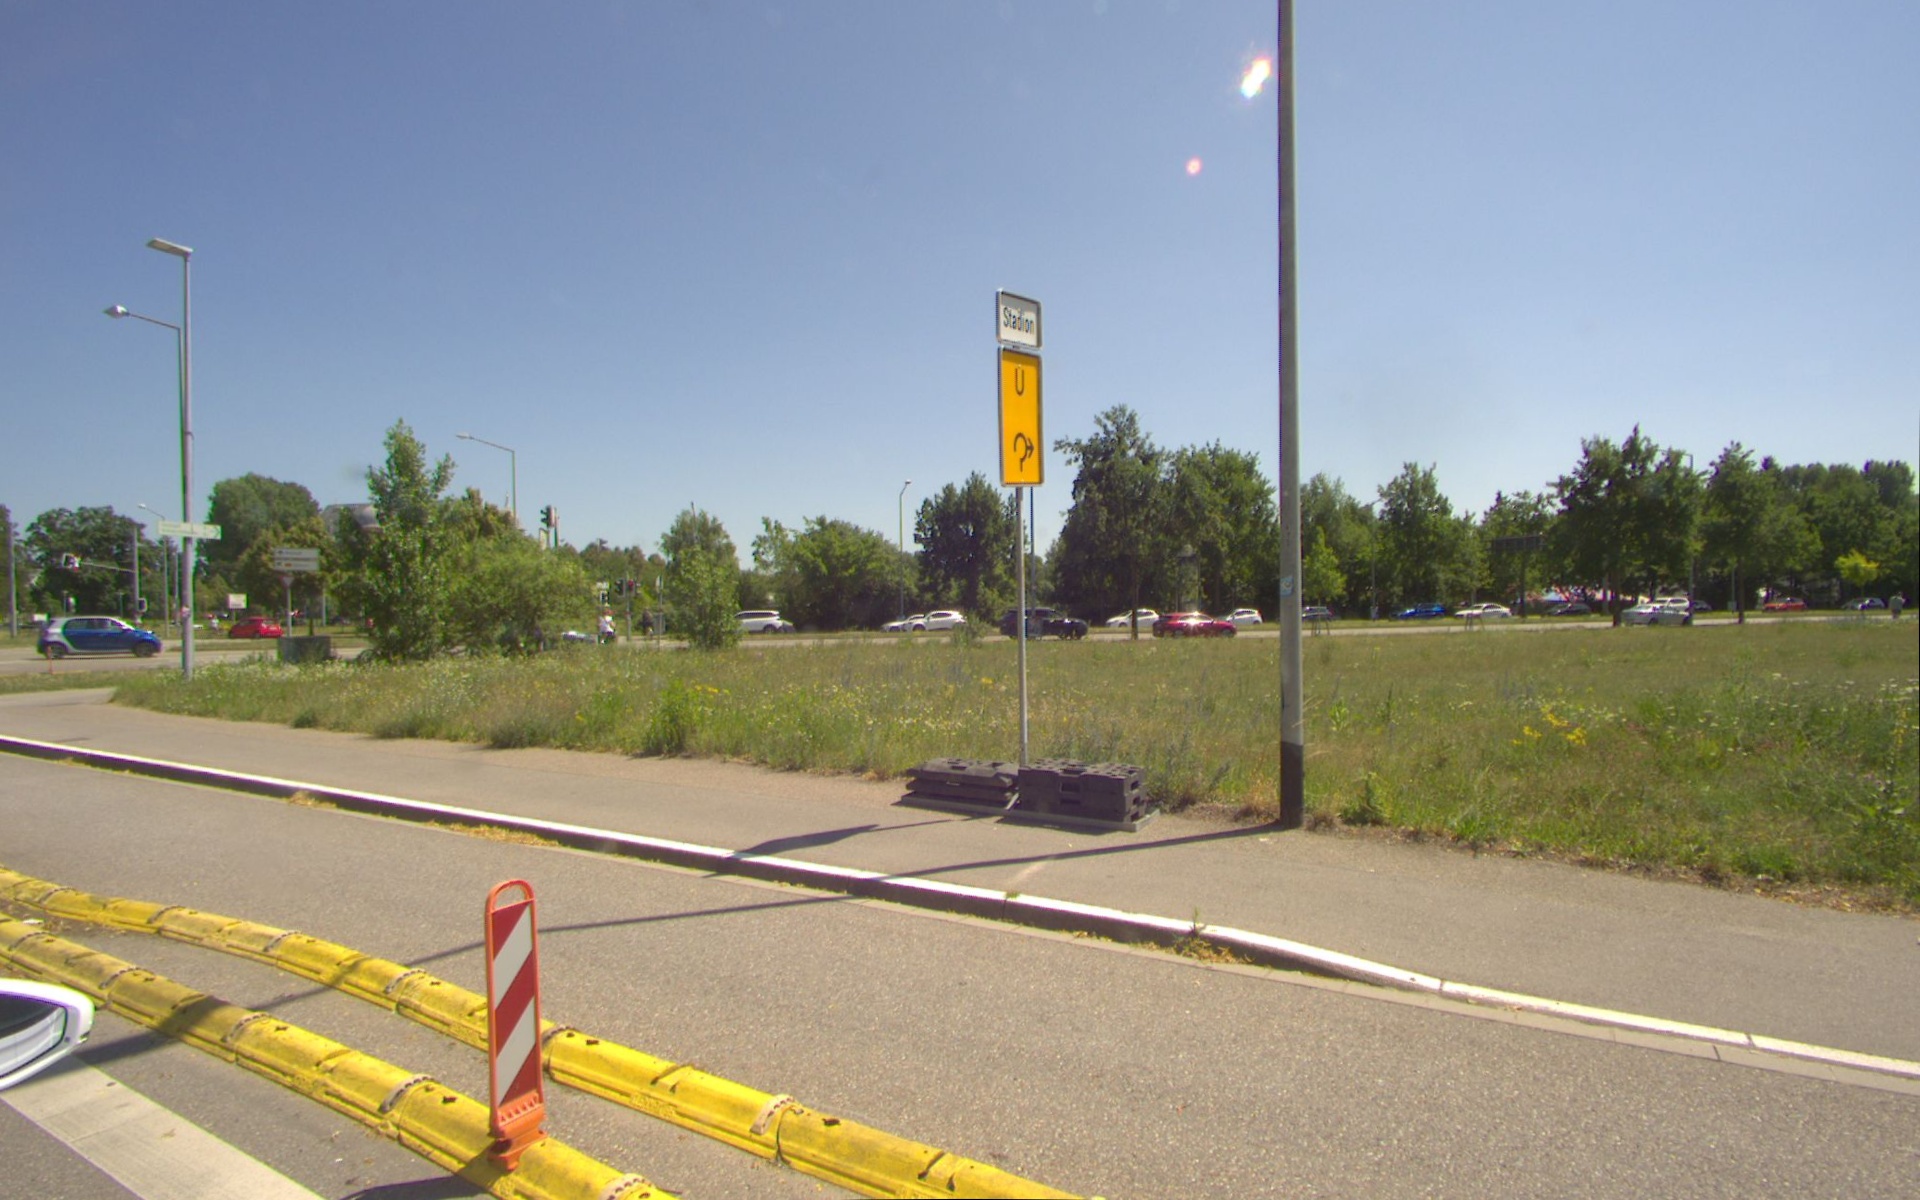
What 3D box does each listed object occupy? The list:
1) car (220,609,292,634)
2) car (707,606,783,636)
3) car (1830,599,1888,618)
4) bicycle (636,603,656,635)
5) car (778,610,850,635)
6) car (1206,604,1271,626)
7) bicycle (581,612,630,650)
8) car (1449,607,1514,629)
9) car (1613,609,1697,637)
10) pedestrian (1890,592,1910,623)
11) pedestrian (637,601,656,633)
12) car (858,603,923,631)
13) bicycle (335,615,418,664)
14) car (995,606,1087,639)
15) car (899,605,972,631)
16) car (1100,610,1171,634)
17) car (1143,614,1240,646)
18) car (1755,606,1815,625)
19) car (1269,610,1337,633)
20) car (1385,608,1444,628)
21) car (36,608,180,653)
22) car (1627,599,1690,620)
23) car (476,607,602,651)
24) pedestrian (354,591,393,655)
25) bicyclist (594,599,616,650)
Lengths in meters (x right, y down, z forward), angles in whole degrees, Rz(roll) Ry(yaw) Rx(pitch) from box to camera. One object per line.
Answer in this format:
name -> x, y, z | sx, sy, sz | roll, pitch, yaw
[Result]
car -> -49.046, 1.541, 69.767 | 4.269, 1.675, 1.899 | -1, -2, 18
car -> -12.995, 1.285, 60.532 | 4.366, 1.758, 1.846 | 0, -2, -16
car -> 81.107, 0.793, 90.352 | 4.366, 1.612, 1.846 | 0, -2, -16
bicycle -> -16.779, 1.039, 53.564 | 0.967, 1.617, 2.879 | 0, -2, -16
car -> -9.458, 1.485, 64.812 | 4.366, 1.612, 1.846 | 0, -2, -16
car -> 20.596, 1.098, 74.063 | 4.365, 1.613, 1.845 | 0, 0, -16
bicycle -> -13.165, 1.166, 37.250 | 0.628, 1.370, 2.896 | 0, -2, 4
car -> 39.702, 1.387, 76.244 | 4.366, 1.612, 1.846 | 0, -2, -16
car -> 41.398, 1.355, 59.637 | 4.344, 1.547, 1.995 | 0, 0, -20
pedestrian -> 49.098, 0.414, 52.303 | 0.548, 1.611, 0.662 | 1, -1, -32
pedestrian -> -16.736, 0.904, 53.426 | 0.954, 1.681, 0.885 | 0, -1, -16
car -> -4.601, 1.131, 66.173 | 4.074, 1.840, 1.662 | 0, -2, -15
bicycle -> -15.799, 1.060, 27.157 | 0.607, 1.247, 1.832 | -1, 0, 42
car -> 4.154, 1.150, 51.605 | 4.339, 1.617, 1.997 | 0, 0, -15
car -> -1.578, 1.187, 64.226 | 4.366, 1.612, 1.846 | 0, -2, -16
car -> 11.951, 1.521, 68.211 | 4.366, 1.612, 1.846 | 0, -2, -16
car -> 11.653, 1.518, 50.449 | 4.340, 1.546, 1.998 | 0, -2, -15
car -> 70.811, 1.343, 85.926 | 4.337, 1.612, 1.846 | 0, -2, -16
car -> 24.597, 1.553, 71.820 | 4.366, 1.612, 1.846 | 0, -2, -16
car -> 35.455, 1.434, 78.112 | 3.927, 1.558, 1.764 | 0, -2, -14
car -> -31.480, 1.152, 37.044 | 3.962, 1.571, 1.711 | 2, -2, -44
car -> 56.477, 0.752, 80.928 | 4.366, 1.612, 1.846 | 0, -2, -17
car -> -16.725, 1.092, 39.837 | 4.360, 1.617, 1.987 | 0, 1, -33
pedestrian -> -15.867, 0.617, 27.092 | 0.569, 1.714, 0.728 | -1, 1, 42
bicyclist -> -13.177, 0.912, 37.167 | 0.597, 1.864, 0.572 | 0, -1, 2
